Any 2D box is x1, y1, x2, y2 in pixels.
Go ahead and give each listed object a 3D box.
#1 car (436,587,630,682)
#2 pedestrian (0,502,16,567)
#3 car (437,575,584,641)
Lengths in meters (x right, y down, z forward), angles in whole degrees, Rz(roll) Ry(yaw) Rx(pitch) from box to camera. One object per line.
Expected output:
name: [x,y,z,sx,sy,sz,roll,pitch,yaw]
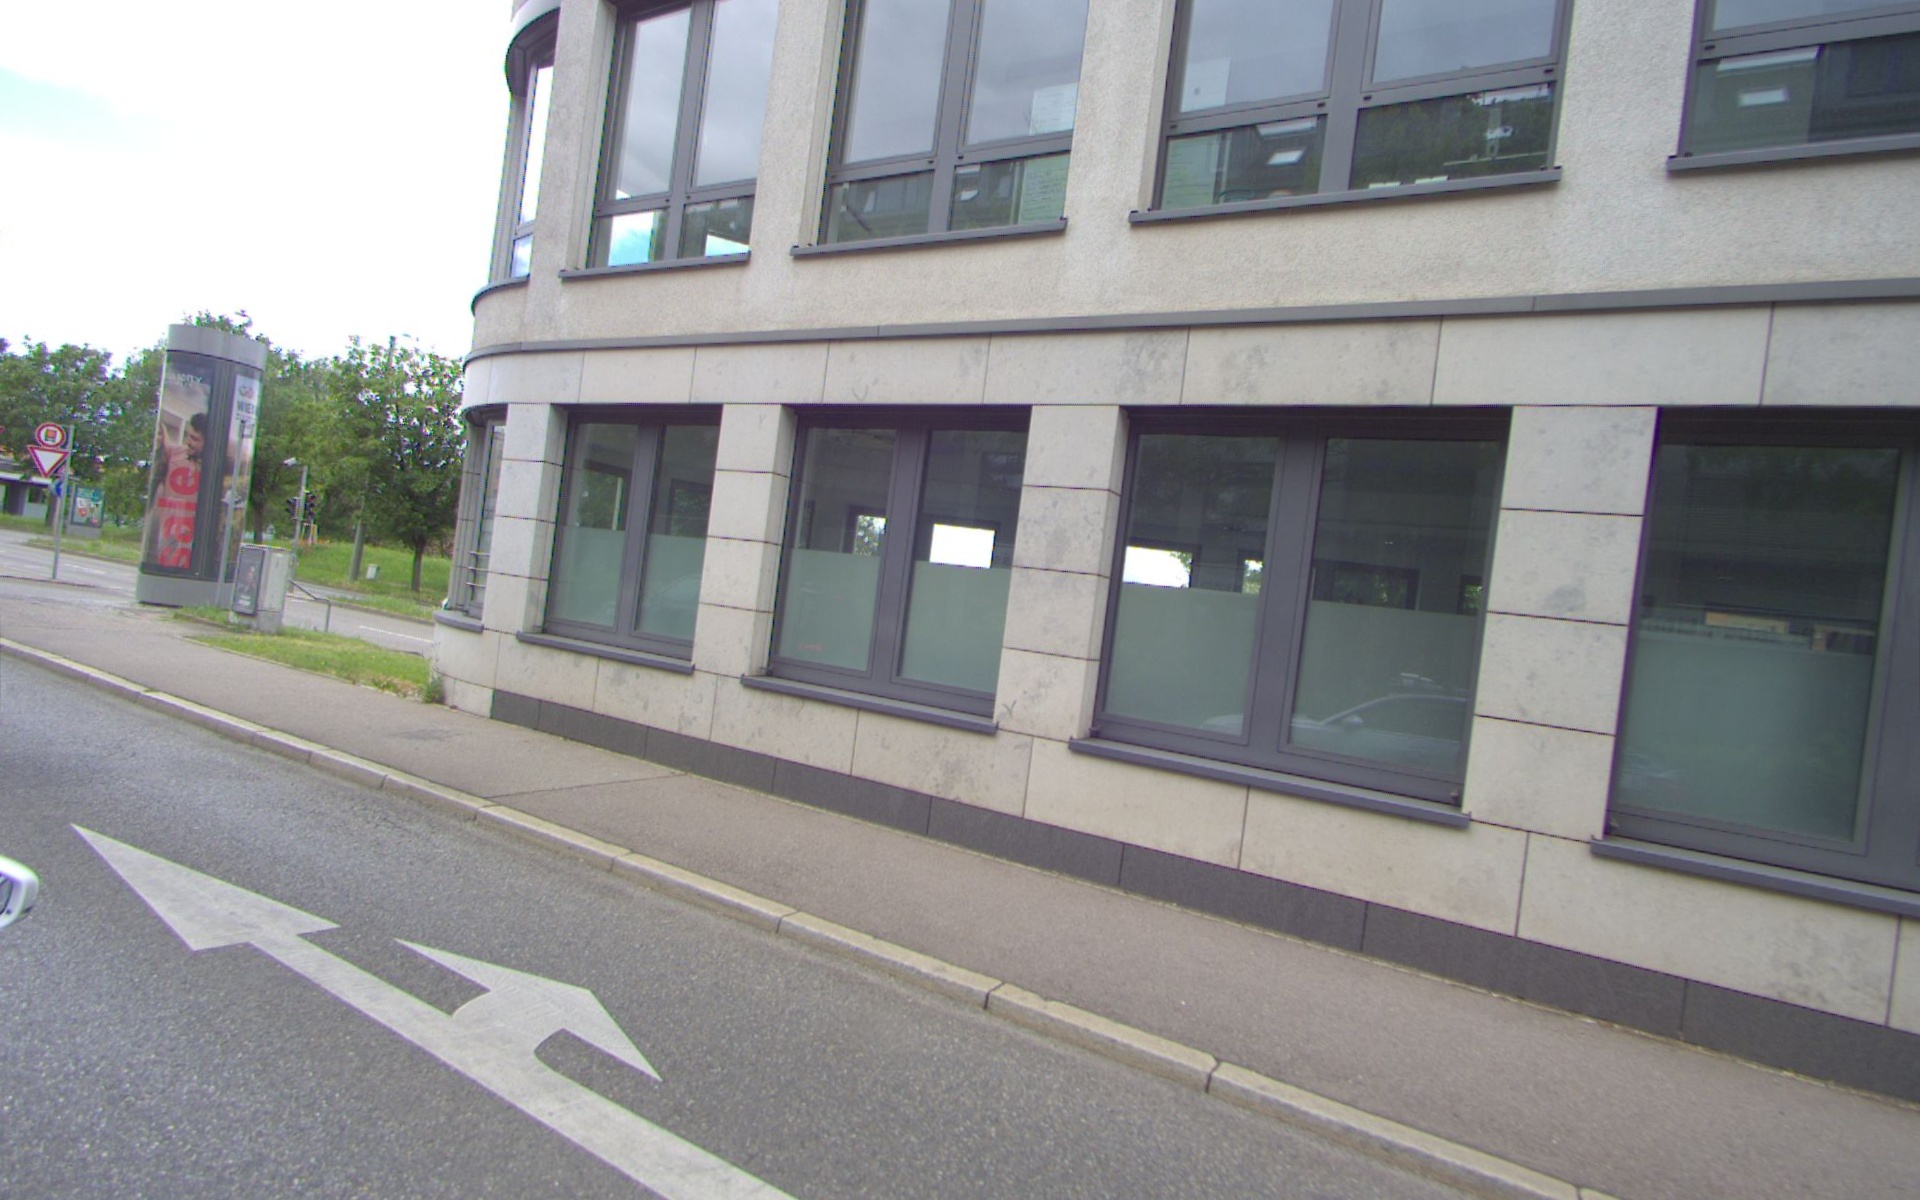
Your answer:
car: [-9.959,0.812,23.568,3.718,1.703,1.706,7,-1,12]
pedestrian: [-24.112,-1.673,24.900,0.564,1.602,0.739,9,-2,-8]
car: [-14.730,0.269,33.010,3.925,1.469,2.003,8,-3,18]
